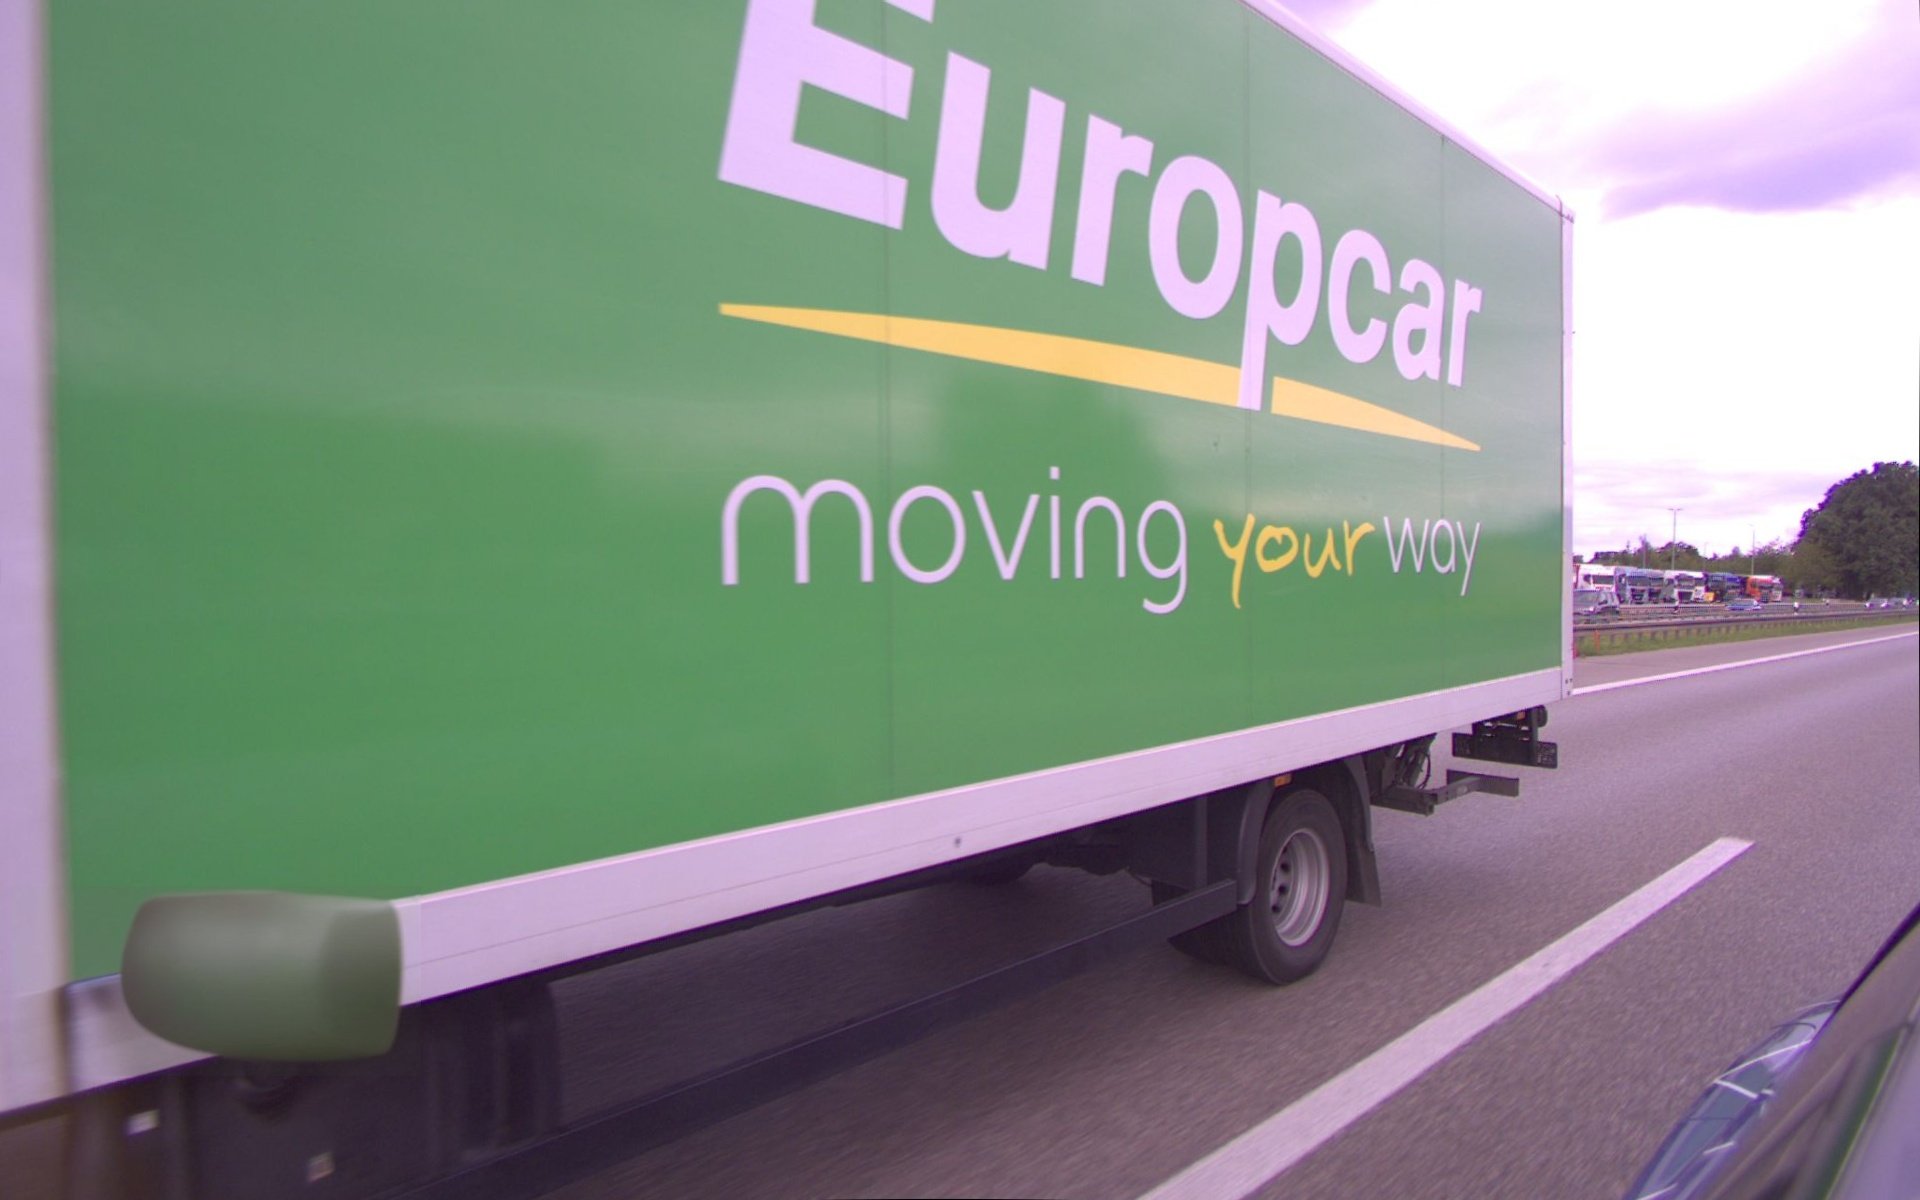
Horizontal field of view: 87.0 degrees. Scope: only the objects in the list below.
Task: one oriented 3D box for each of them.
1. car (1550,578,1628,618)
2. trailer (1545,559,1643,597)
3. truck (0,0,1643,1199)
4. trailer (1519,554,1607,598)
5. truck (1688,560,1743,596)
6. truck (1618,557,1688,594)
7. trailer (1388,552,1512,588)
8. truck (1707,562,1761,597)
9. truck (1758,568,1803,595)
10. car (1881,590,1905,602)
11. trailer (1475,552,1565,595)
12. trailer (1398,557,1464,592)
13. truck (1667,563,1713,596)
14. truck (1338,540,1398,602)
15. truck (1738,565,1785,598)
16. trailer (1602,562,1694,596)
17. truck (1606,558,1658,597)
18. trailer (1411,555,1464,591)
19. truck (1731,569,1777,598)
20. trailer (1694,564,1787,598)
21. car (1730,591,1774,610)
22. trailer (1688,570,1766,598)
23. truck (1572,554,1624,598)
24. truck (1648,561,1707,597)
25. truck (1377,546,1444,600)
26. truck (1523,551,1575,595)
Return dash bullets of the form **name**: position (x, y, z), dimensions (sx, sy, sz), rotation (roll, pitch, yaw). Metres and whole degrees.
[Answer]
- **car**: position (29.753, -0.130, 47.810), dimensions (4.514, 1.778, 1.831), rotation (0, 2, -41)
- **trailer**: position (72.971, -2.446, 117.092), dimensions (2.609, 4.136, 14.687), rotation (-1, 0, 2)
- **truck**: position (-0.909, -0.375, 3.096), dimensions (8.903, 3.549, 2.775), rotation (0, 0, -41)
- **trailer**: position (65.864, -2.515, 111.002), dimensions (2.434, 4.451, 14.122), rotation (-1, 0, 5)
- **truck**: position (99.869, -2.851, 133.922), dimensions (3.113, 4.614, 6.076), rotation (-1, 0, 6)
- **truck**: position (81.908, -2.819, 119.811), dimensions (3.486, 4.136, 7.643), rotation (-1, 0, 6)
- **trailer**: position (65.505, -3.982, 135.558), dimensions (14.782, 4.701, 2.871), rotation (-1, 0, 5)
- **truck**: position (105.057, -2.778, 137.426), dimensions (3.007, 4.614, 6.077), rotation (-1, 0, 6)
- **truck**: position (128.916, -2.871, 159.111), dimensions (2.781, 4.112, 6.430), rotation (-1, 0, 10)
- **car**: position (100.095, -0.451, 108.606), dimensions (3.930, 1.230, 1.465), rotation (0, 2, -41)
- **trailer**: position (57.614, -2.585, 104.638), dimensions (2.567, 4.125, 13.529), rotation (-1, 0, 4)
- **trailer**: position (61.229, -3.298, 131.678), dimensions (7.596, 4.348, 1.999), rotation (1, 1, 2)
- **truck**: position (92.034, -2.565, 127.672), dimensions (2.651, 4.107, 4.787), rotation (-1, 0, 8)
- **truck**: position (29.974, -2.076, 74.589), dimensions (2.547, 4.307, 5.685), rotation (-1, 0, 5)
- **truck**: position (114.800, -2.602, 144.979), dimensions (2.827, 4.683, 5.165), rotation (-1, 0, 5)
- **trailer**: position (88.880, -2.616, 131.298), dimensions (2.805, 4.156, 15.861), rotation (-1, 0, 7)
- **truck**: position (72.625, -2.391, 109.444), dimensions (2.593, 4.183, 4.791), rotation (-1, 0, 4)
- **trailer**: position (59.842, -3.406, 126.873), dimensions (5.531, 4.348, 1.999), rotation (1, 1, 2)
- **truck**: position (118.505, -2.399, 151.114), dimensions (2.623, 4.201, 5.920), rotation (-1, 0, 6)
- **trailer**: position (115.284, -2.665, 149.937), dimensions (2.814, 4.737, 15.787), rotation (-1, 0, 6)
- **car**: position (55.196, 0.035, 70.502), dimensions (3.484, 1.274, 1.795), rotation (-1, 0, -41)
- **trailer**: position (119.154, -2.457, 157.517), dimensions (2.617, 4.165, 14.047), rotation (-1, 0, 6)
- **truck**: position (65.210, -2.401, 103.563), dimensions (2.467, 4.382, 4.899), rotation (-1, 0, 4)
- **truck**: position (88.048, -2.523, 124.353), dimensions (2.836, 4.187, 6.959), rotation (-1, 0, 7)
- **truck**: position (33.991, -2.064, 76.589), dimensions (2.709, 3.897, 6.385), rotation (1, 1, 6)
- **truck**: position (57.184, -2.599, 98.335), dimensions (2.567, 4.187, 4.528), rotation (-1, 0, 4)
